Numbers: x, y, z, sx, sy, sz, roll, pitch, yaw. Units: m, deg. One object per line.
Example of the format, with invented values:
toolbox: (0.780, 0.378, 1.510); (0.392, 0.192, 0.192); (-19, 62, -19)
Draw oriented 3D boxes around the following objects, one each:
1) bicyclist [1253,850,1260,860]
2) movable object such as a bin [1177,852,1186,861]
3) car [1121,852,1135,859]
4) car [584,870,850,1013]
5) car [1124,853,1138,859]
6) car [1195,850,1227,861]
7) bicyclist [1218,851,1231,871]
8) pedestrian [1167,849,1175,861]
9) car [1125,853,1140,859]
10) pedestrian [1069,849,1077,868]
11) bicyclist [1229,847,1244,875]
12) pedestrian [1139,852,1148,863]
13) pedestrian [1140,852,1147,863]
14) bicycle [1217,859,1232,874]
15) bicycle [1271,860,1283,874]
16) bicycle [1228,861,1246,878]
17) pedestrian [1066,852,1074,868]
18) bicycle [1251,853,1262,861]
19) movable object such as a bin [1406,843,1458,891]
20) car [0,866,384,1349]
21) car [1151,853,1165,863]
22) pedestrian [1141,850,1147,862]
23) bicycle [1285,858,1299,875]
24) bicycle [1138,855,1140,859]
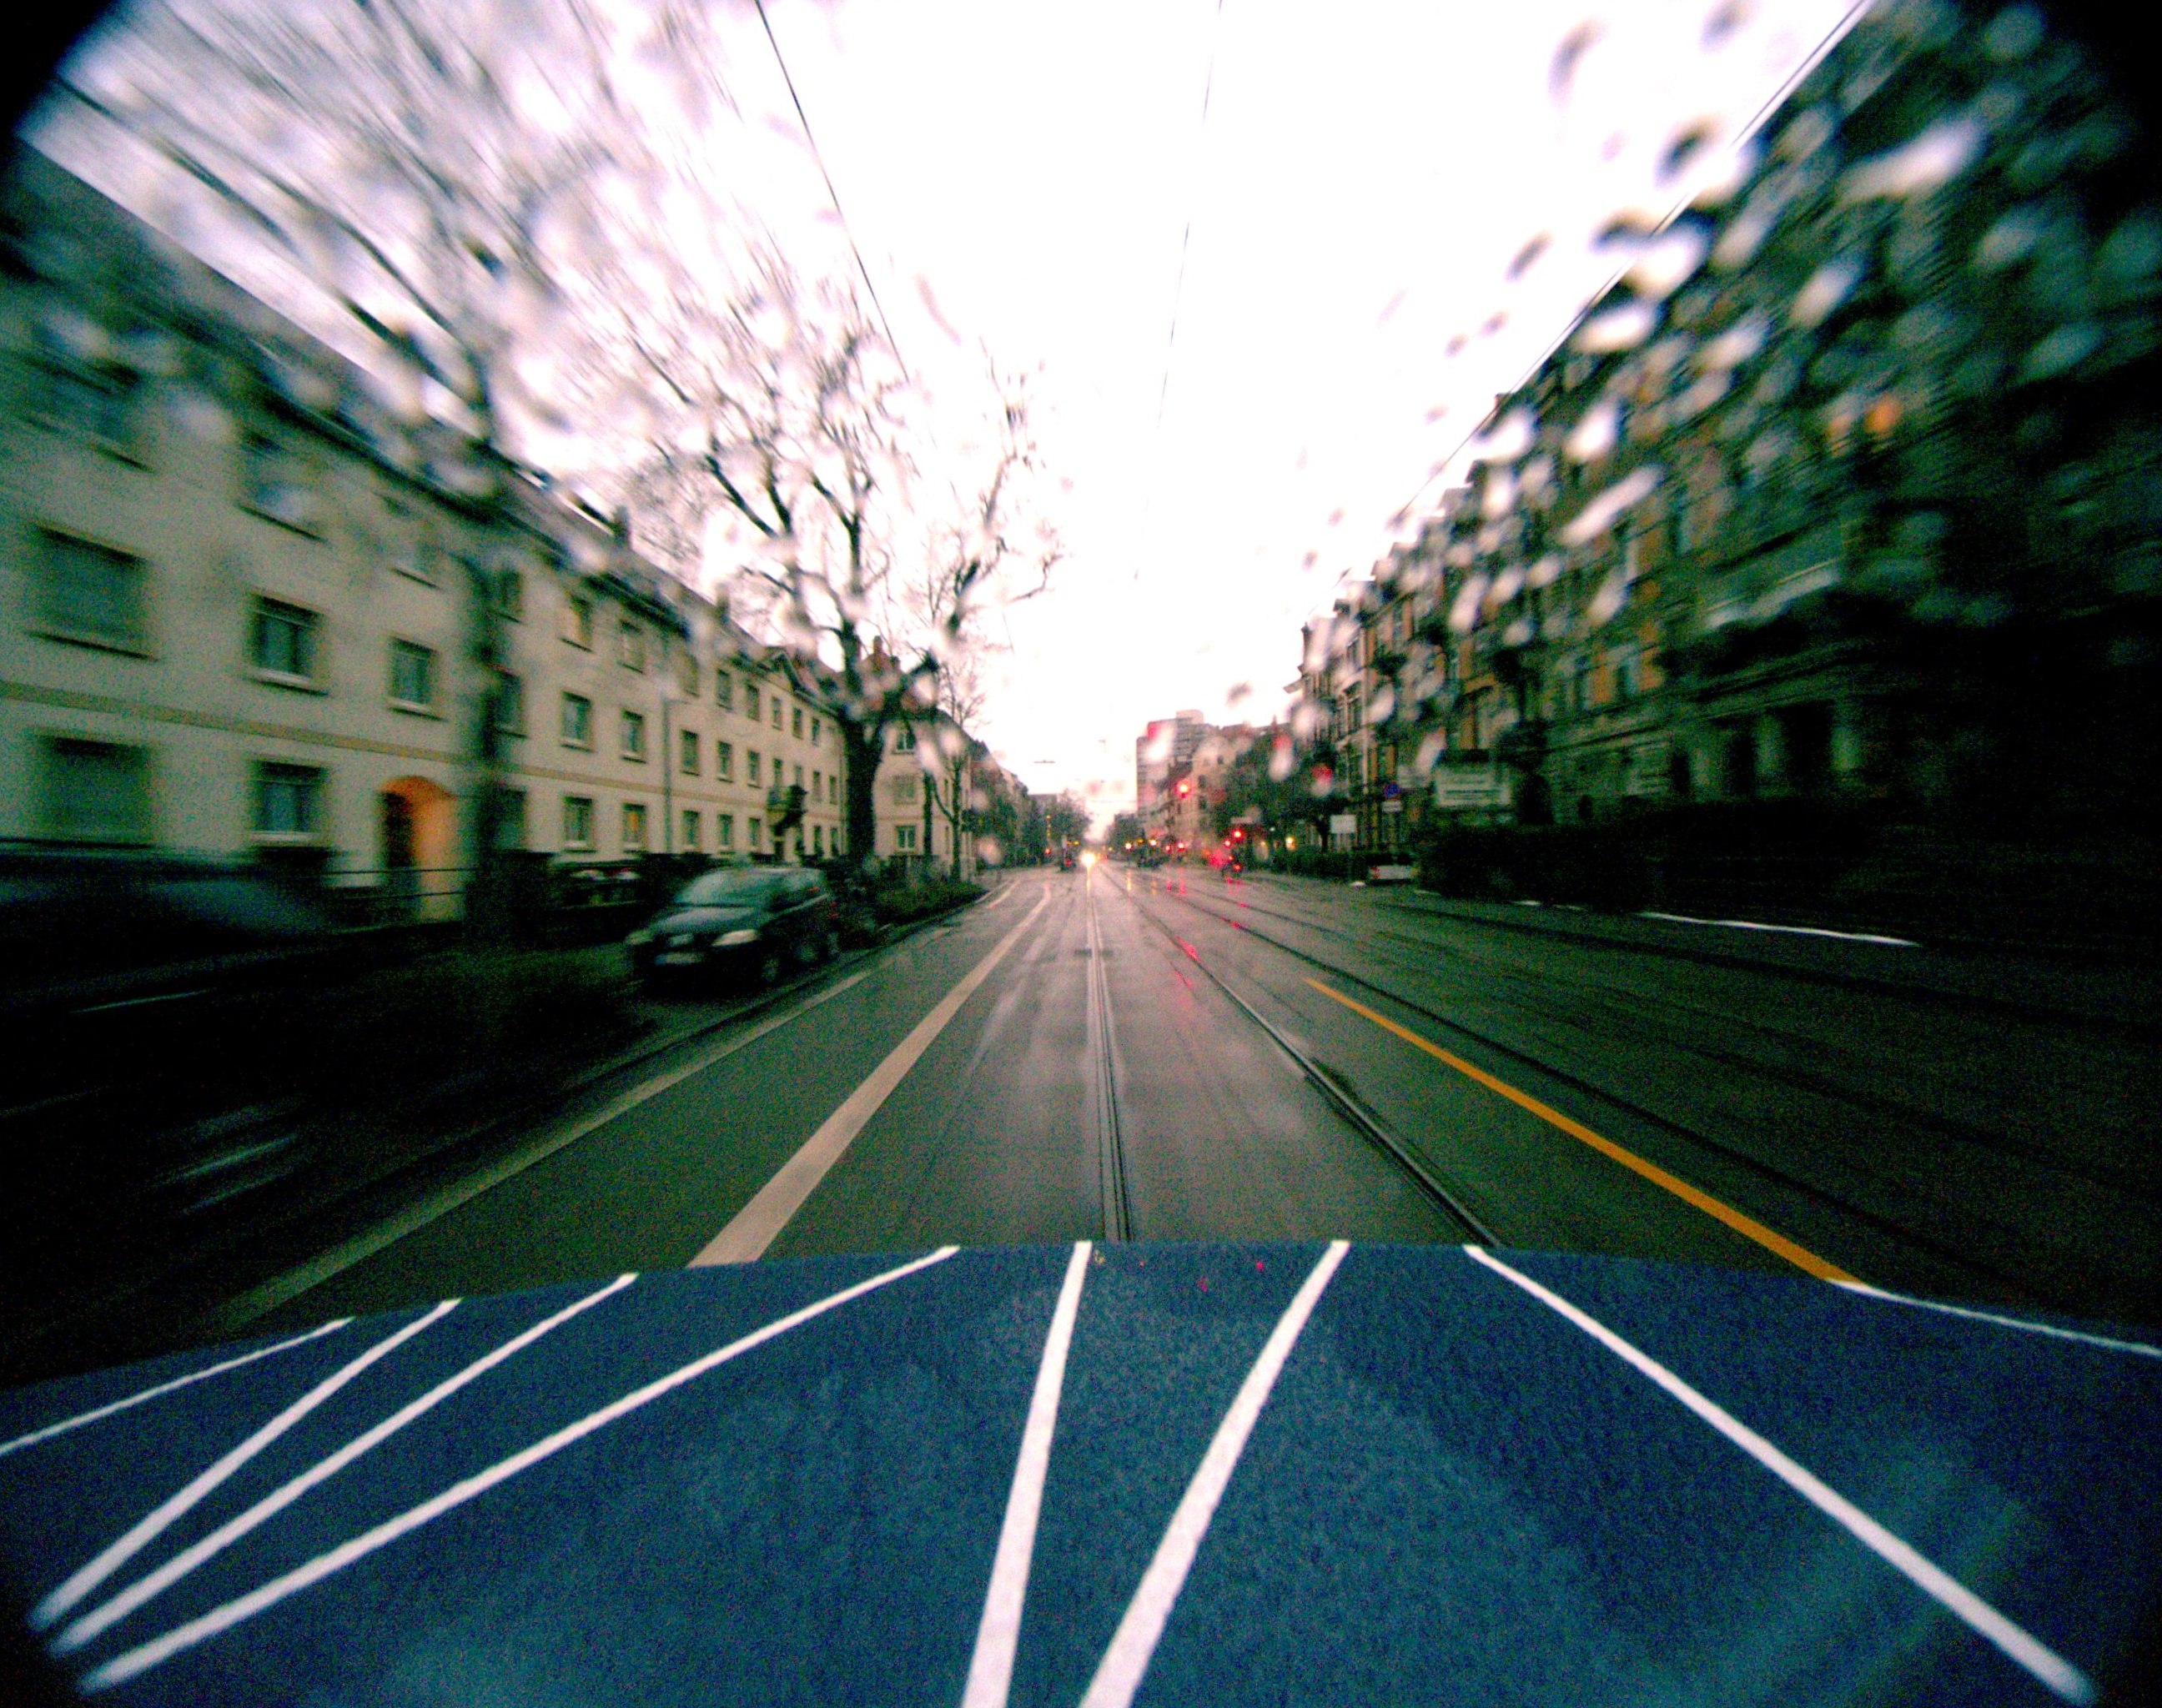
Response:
bicyclist: (23.971, 0.086, 103.998); (0.531, 1.356, 0.764); (-3, 1, -24)
movable object such as a bin: (17.564, 0.439, 132.530); (1.352, 1.364, 1.281); (-4, 0, -1)
car: (13.895, 0.453, 225.037); (3.839, 1.707, 1.727); (-4, 0, 1)
car: (-4.769, 1.045, 10.691); (1.790, 1.501, 3.987); (-1, 0, 0)
car: (13.509, 0.553, 205.517); (3.839, 1.405, 1.727); (-1, 0, 1)
car: (18.562, 0.235, 108.360); (4.336, 1.574, 1.939); (-1, 0, 13)
bicyclist: (9.923, 0.471, 52.524); (0.706, 1.356, 0.944); (-3, 1, 1)
pedestrian: (14.829, 0.155, 125.348); (0.796, 1.867, 0.896); (-3, 1, 37)
car: (13.664, 0.564, 202.841); (3.839, 1.405, 1.727); (-1, 0, 1)
pedestrian: (-0.823, 0.495, 78.563); (0.689, 1.906, 0.717); (-1, 1, -11)
bicyclist: (9.207, 0.424, 45.017); (0.685, 1.607, 0.765); (-2, 1, 2)
pedestrian: (7.527, 0.424, 91.521); (1.058, 1.247, 0.506); (-4, 1, 0)
pedestrian: (7.451, 0.405, 90.905); (0.654, 1.211, 0.517); (-4, 1, 0)
bicycle: (9.950, 0.829, 52.730); (0.683, 1.001, 1.803); (-1, 0, 2)
bicycle: (13.296, 0.872, 51.557); (0.400, 0.857, 1.849); (-2, 0, 2)
bicycle: (9.219, 0.894, 44.979); (0.680, 0.966, 1.933); (-2, 0, 2)
pedestrian: (-1.161, 0.631, 80.797); (0.659, 1.698, 0.571); (-4, 1, 1)
bicycle: (23.987, 0.439, 104.009); (0.492, 1.001, 1.808); (-1, 0, -23)
movable object such as a bin: (12.126, 0.447, 26.301); (1.246, 1.576, 1.308); (-2, 0, 5)
car: (-4.876, 0.953, 1.782); (1.910, 1.717, 4.902); (-1, 0, 0)
car: (13.415, 0.676, 132.865); (1.677, 1.507, 3.677); (-4, 0, -5)
pedestrian: (7.680, 0.219, 92.548); (0.685, 1.395, 0.578); (-4, 1, 0)
bicycle: (12.979, 0.731, 46.729); (0.417, 1.001, 1.849); (-2, 0, 2)
bicycle: (13.027, 0.589, 171.224); (0.530, 0.884, 2.210); (-1, 0, 5)
